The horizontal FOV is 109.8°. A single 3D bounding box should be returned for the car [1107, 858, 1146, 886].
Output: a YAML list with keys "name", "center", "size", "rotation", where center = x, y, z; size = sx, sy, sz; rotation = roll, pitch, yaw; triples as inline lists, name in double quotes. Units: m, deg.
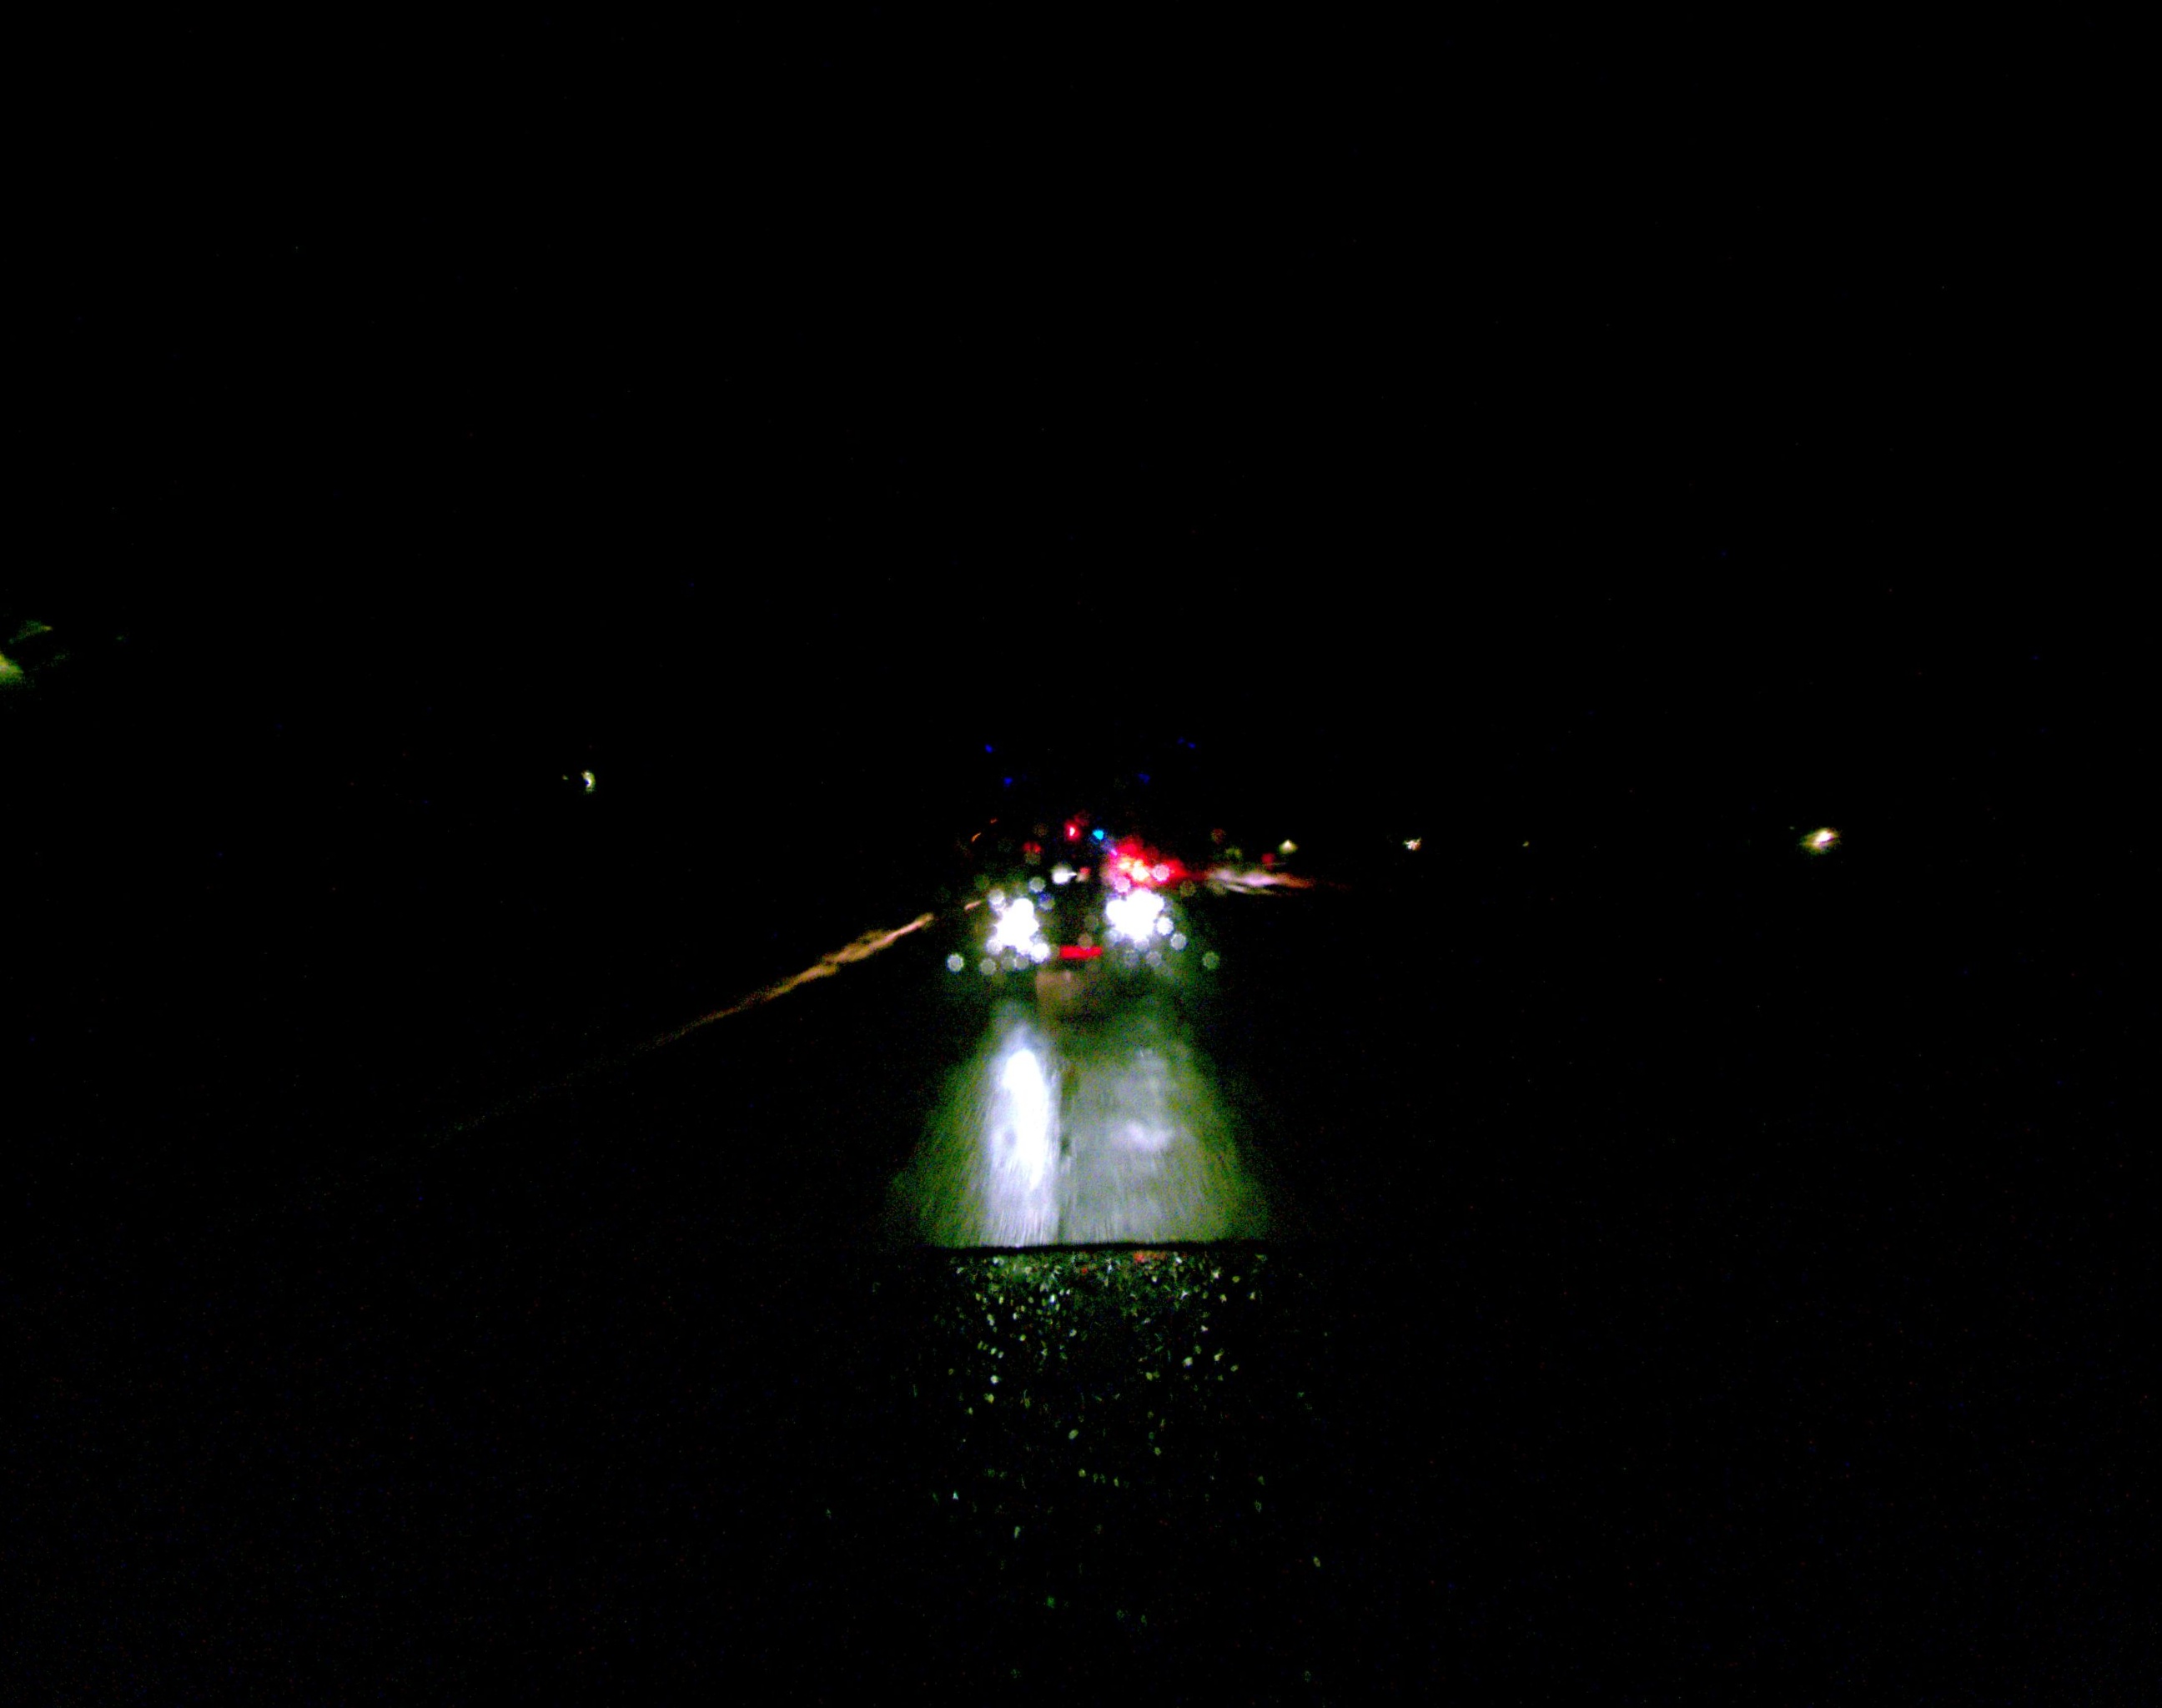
- name: "car"
  center: [2.579, 1.003, 43.899]
  size: [1.699, 1.426, 4.291]
  rotation: [-3, 0, -3]

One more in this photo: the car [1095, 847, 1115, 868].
- name: "car"
  center: [3.161, 0.486, 101.009]
  size: [2.128, 2.691, 6.239]
  rotation: [-2, 0, -2]

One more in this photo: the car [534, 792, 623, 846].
- name: "car"
  center: [-26.941, -1.791, 40.983]
  size: [2.121, 2.619, 5.444]
  rotation: [-2, 0, -12]

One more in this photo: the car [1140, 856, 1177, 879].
- name: "car"
  center: [5.247, 0.905, 52.044]
  size: [1.923, 1.435, 4.545]
  rotation: [-2, 0, -2]

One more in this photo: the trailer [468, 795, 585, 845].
- name: "trailer"
  center: [-25.729, -1.513, 35.555]
  size: [2.234, 2.060, 5.714]
  rotation: [-2, 0, -12]

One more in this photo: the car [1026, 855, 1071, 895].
- name: "car"
  center: [-1.551, 0.982, 37.544]
  size: [1.759, 1.807, 4.711]
  rotation: [-3, 0, 2]

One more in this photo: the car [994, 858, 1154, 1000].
- name: "car"
  center: [-0.124, 0.891, 11.212]
  size: [1.810, 1.590, 4.786]
  rotation: [-2, 0, -1]

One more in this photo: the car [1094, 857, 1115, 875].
- name: "car"
  center: [2.234, 1.096, 72.455]
  size: [1.809, 1.620, 4.415]
  rotation: [-2, 0, 0]

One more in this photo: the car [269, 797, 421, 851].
- name: "car"
  center: [-22.826, -0.877, 23.787]
  size: [1.618, 1.464, 3.995]
  rotation: [-2, 0, -15]

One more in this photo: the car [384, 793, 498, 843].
- name: "car"
  center: [-23.770, -1.287, 28.394]
  size: [1.618, 1.630, 3.995]
  rotation: [-2, 0, -15]

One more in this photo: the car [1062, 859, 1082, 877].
- name: "car"
  center: [-0.796, 1.196, 66.358]
  size: [1.625, 1.477, 3.785]
  rotation: [-2, -1, -1]
